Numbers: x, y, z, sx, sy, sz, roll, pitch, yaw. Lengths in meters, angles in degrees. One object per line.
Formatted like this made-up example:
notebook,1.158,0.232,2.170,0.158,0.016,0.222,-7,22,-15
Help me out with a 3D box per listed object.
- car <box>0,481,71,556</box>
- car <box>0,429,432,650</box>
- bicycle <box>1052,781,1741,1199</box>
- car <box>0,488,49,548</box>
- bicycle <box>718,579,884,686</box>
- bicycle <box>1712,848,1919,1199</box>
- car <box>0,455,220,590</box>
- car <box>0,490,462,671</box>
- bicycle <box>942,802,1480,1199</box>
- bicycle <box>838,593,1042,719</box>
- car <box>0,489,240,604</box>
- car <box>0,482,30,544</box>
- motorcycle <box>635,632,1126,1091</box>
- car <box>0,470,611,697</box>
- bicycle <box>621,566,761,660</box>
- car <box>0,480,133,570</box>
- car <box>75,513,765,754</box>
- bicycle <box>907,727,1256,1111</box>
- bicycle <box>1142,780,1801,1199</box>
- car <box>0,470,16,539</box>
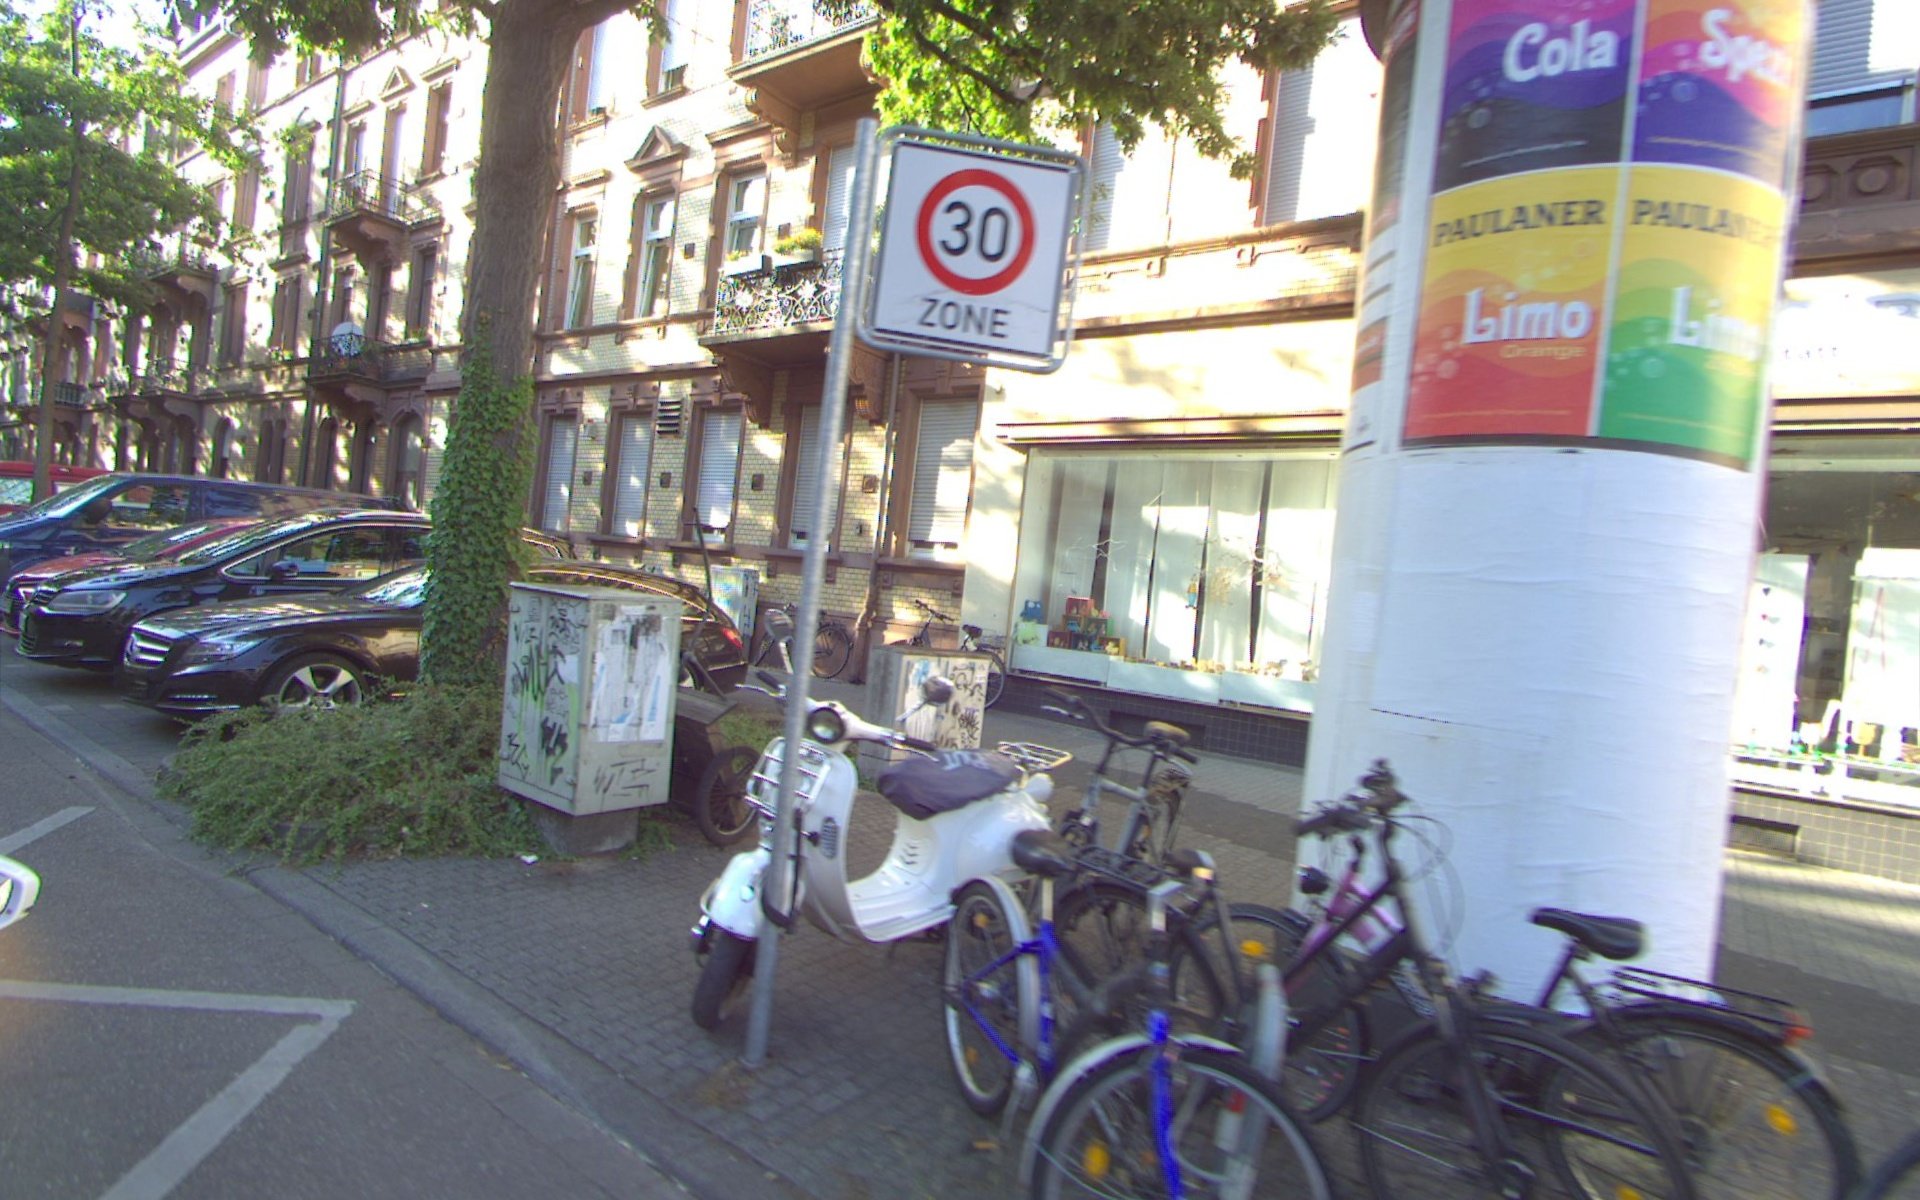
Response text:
car,-23.670,-2.060,23.519,1.777,1.649,4.007,6,2,35
car,-10.076,-0.662,13.280,1.962,2.242,5.021,6,0,36
bicycle,0.956,1.087,2.543,0.352,0.940,1.506,2,3,-45
car,-25.550,-2.207,25.033,1.767,1.453,4.005,6,2,36
bicycle,-2.219,0.408,13.728,2.555,1.187,0.669,6,3,40
bicycle,2.032,1.175,1.680,0.487,1.001,1.935,5,2,15
car,-16.034,-1.380,17.513,1.849,2.060,4.673,6,2,34
car,-8.111,-0.123,11.291,1.699,1.553,4.104,6,-1,37
bicycle,0.407,1.090,2.276,0.349,0.940,1.405,3,2,-22
bicycle,-0.295,0.616,12.007,2.555,1.187,0.669,6,3,40
car,-13.978,-0.859,15.696,1.850,1.530,4.050,6,2,36
car,-27.483,-2.477,26.324,1.821,1.578,4.338,8,4,36
motorcycle,-0.176,0.790,3.815,0.675,1.250,1.895,7,2,37
car,-6.103,-0.060,9.874,1.826,1.701,4.675,6,1,42
bicycle,-4.142,0.170,15.346,2.555,1.187,0.669,6,3,40
car,-19.870,-1.646,20.650,1.811,1.649,4.178,6,2,40
car,-4.159,0.278,8.537,1.824,1.431,4.777,6,1,39
bicycle,0.574,1.046,3.819,0.349,0.940,1.928,6,2,36
bicycle,1.290,1.123,2.782,1.503,0.940,0.352,6,3,39
car,-29.423,-2.887,27.896,1.820,1.951,4.440,8,3,34
